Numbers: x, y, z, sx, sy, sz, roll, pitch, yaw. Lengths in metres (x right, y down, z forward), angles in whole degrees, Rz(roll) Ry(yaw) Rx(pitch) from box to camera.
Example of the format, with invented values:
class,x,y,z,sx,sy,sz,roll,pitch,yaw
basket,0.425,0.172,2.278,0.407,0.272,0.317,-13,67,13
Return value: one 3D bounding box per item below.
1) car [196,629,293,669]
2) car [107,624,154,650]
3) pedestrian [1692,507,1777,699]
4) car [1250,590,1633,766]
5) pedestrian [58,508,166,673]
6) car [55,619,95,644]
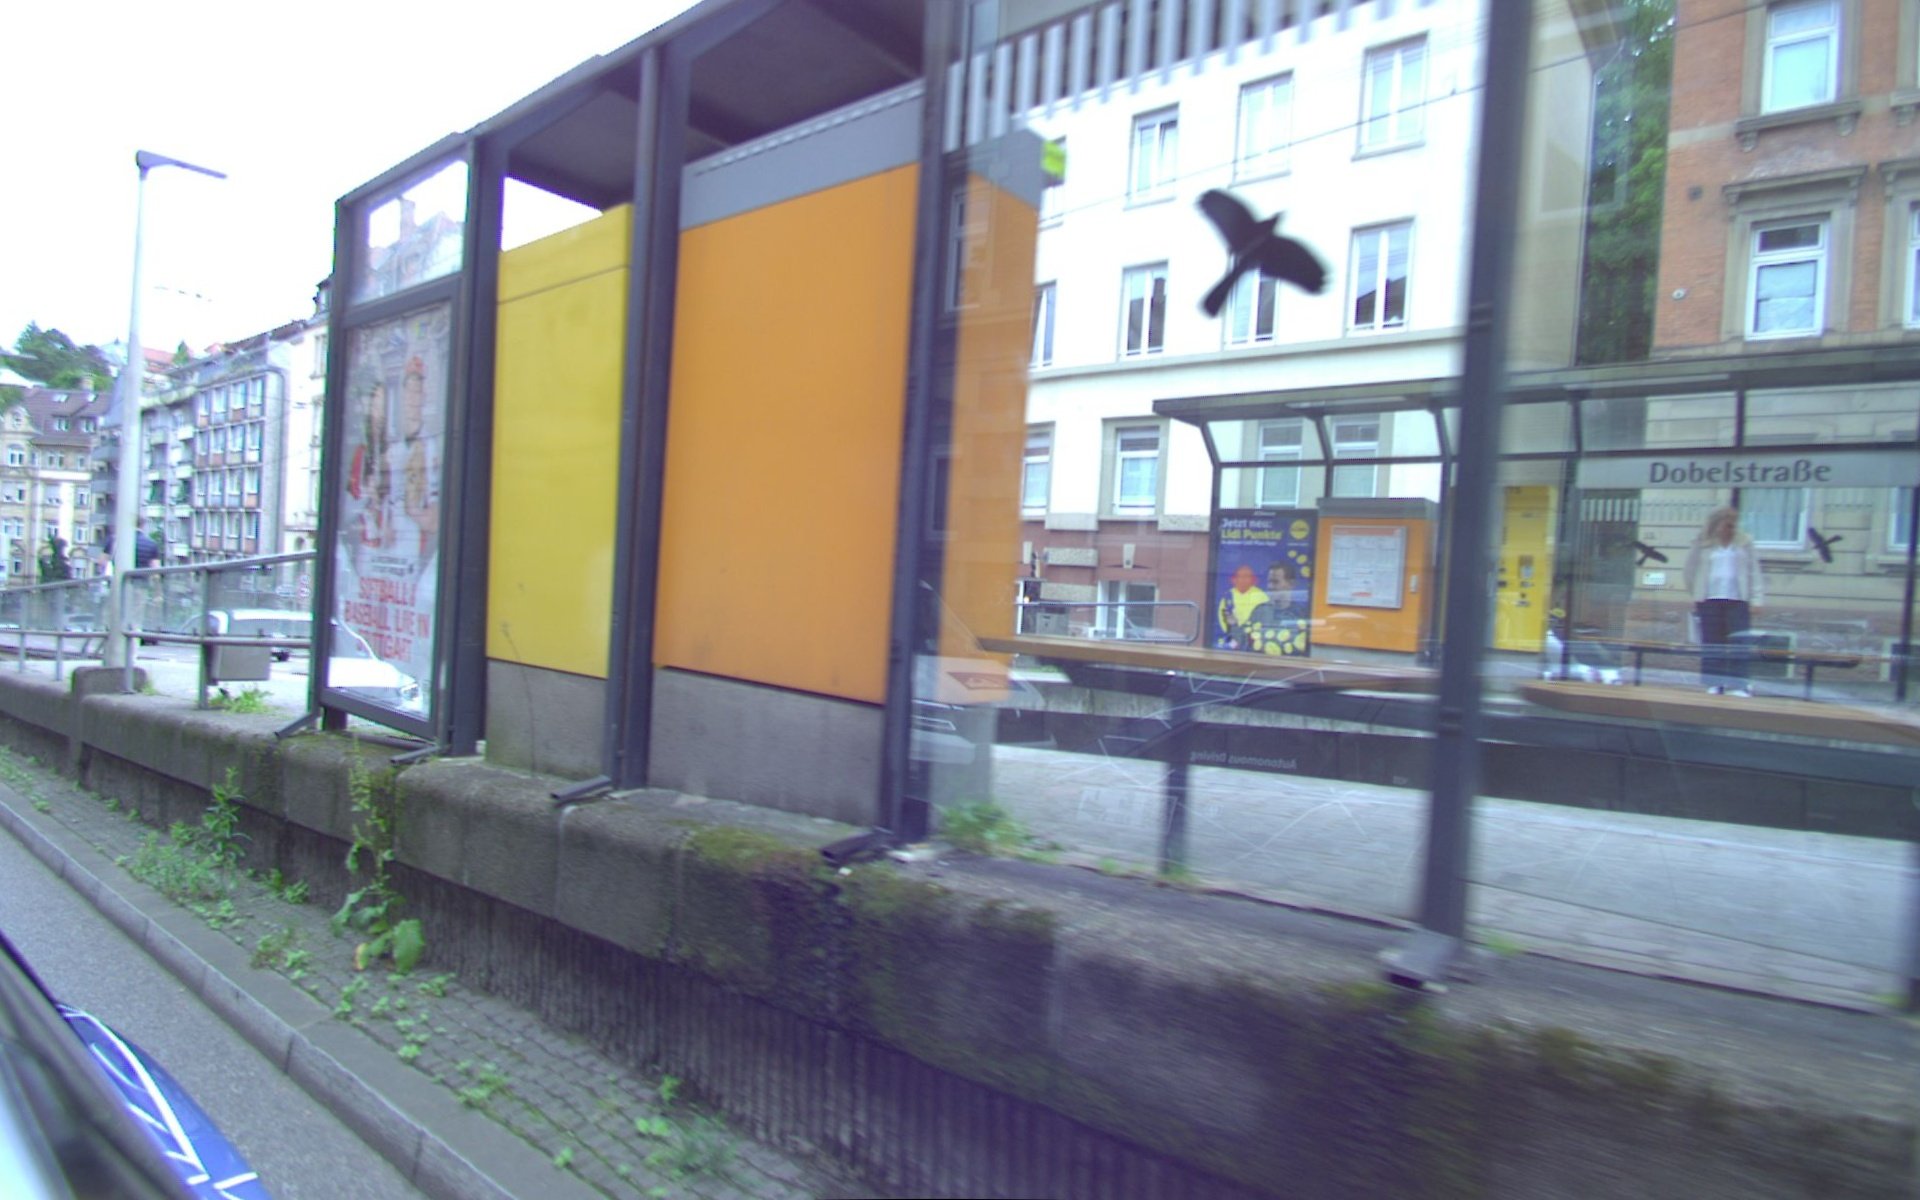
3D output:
class,x,y,z,sx,sy,sz,roll,pitch,yaw
car,-27.219,1.817,38.467,4.374,1.457,1.828,-1,-2,38
car,-57.442,2.551,70.056,4.379,1.796,1.826,-2,-2,42
pedestrian,6.615,0.032,8.643,0.540,1.574,0.457,-1,-2,39
car,5.713,0.837,12.218,3.859,1.778,1.805,-1,-2,39
pedestrian,-9.318,-0.090,11.129,0.766,1.728,0.757,-2,-2,40
car,-72.304,2.552,82.699,4.047,1.989,1.827,-1,-2,40
